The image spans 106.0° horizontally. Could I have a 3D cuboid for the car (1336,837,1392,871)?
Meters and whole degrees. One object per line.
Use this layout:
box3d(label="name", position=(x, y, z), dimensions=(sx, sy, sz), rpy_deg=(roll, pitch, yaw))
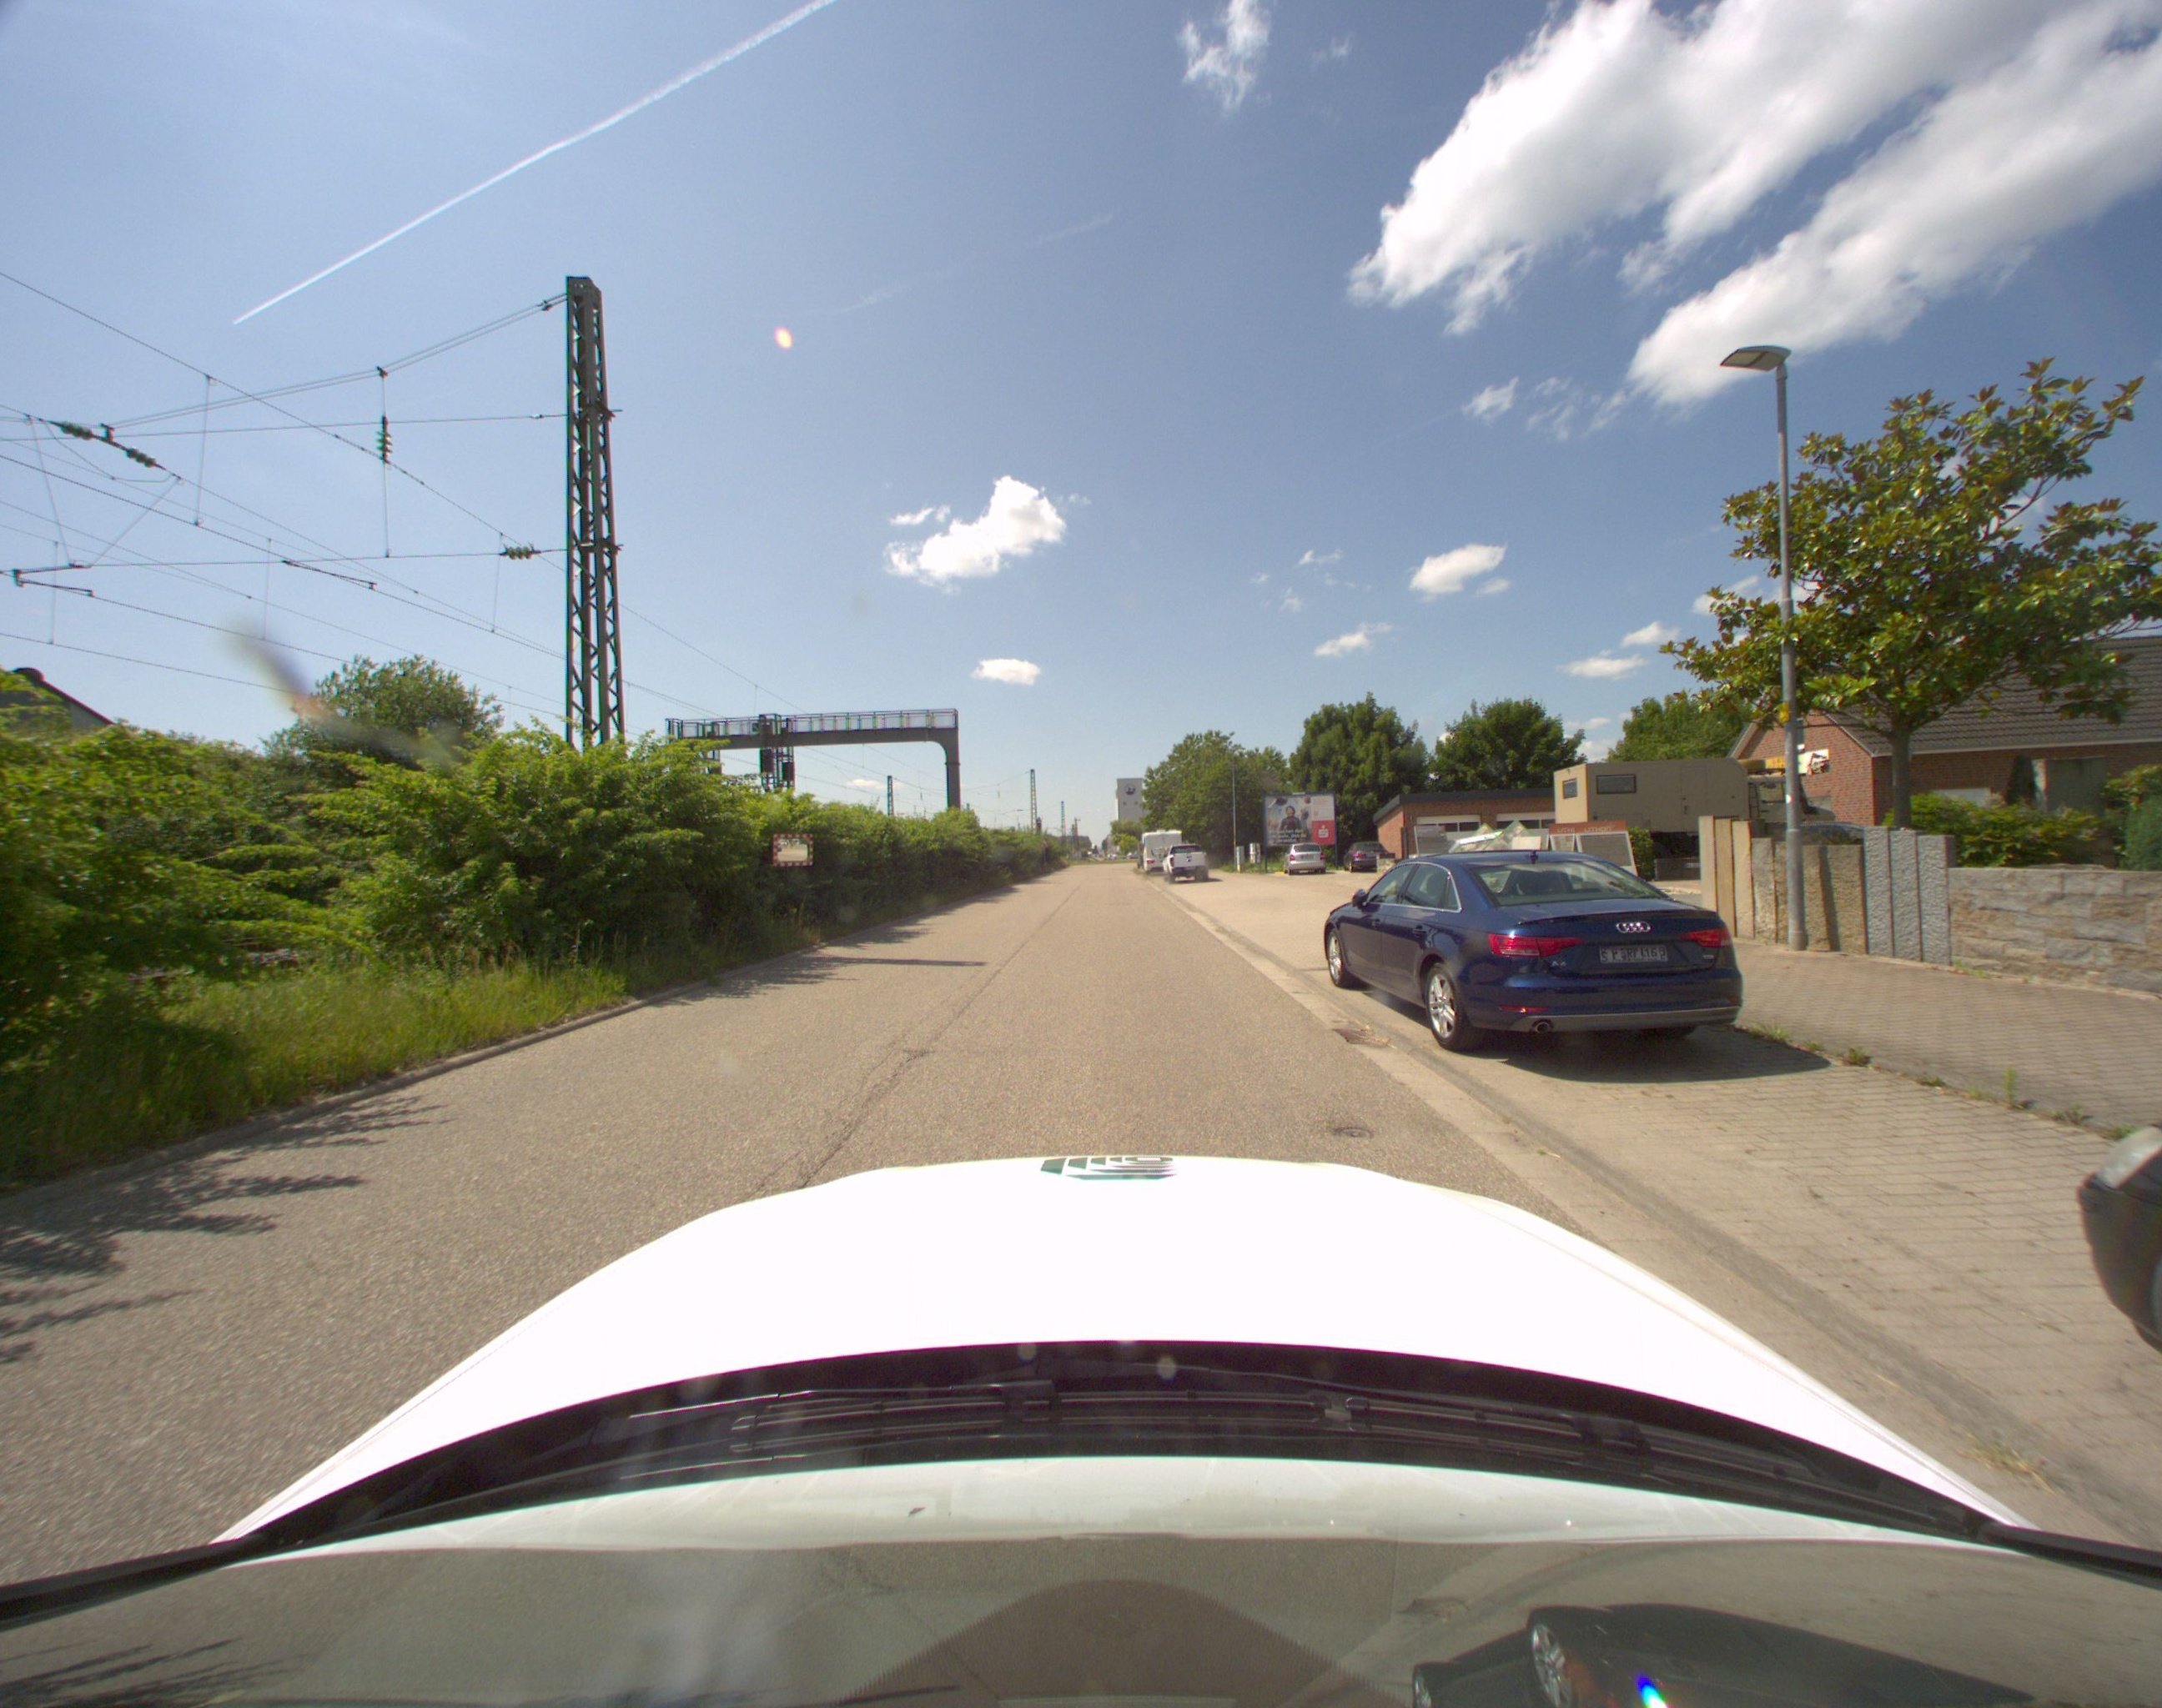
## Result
box3d(label="car", position=(13.136, -0.004, 38.037), dimensions=(1.736, 1.376, 4.011), rpy_deg=(-4, 0, 9))

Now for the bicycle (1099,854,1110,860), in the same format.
box3d(label="bicycle", position=(4.516, 0.545, 157.378), dimensions=(2.118, 1.164, 0.665), rpy_deg=(-2, 0, 38))

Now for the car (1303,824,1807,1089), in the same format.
box3d(label="car", position=(3.456, 0.607, 7.197), dimensions=(1.755, 1.472, 4.720), rpy_deg=(-3, 0, 2))

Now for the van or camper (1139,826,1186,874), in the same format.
box3d(label="van or camper", position=(5.269, -0.247, 53.804), dimensions=(2.430, 2.826, 7.627), rpy_deg=(-3, 0, 2))

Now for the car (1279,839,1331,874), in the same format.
box3d(label="car", position=(10.628, 0.114, 38.906), dimensions=(1.894, 1.480, 4.011), rpy_deg=(-4, 0, 9))

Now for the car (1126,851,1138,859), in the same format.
box3d(label="car", position=(11.070, 0.204, 176.071), dimensions=(1.990, 1.510, 4.448), rpy_deg=(-2, 0, -4))

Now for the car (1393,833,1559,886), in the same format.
box3d(label="car", position=(12.091, 0.162, 25.220), dimensions=(4.240, 1.420, 1.983), rpy_deg=(-2, 0, 11))

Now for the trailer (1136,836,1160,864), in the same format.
box3d(label="trailer", position=(6.382, -0.391, 78.195), dimensions=(1.911, 2.508, 4.744), rpy_deg=(-5, 0, 2))

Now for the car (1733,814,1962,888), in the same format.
box3d(label="car", position=(16.126, -0.074, 17.447), dimensions=(1.770, 1.324, 4.016), rpy_deg=(-3, 0, 13))

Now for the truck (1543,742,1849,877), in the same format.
box3d(label="truck", position=(17.793, -1.200, 24.089), dimensions=(6.421, 3.388, 3.115), rpy_deg=(-3, 0, 10))

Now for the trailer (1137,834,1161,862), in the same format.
box3d(label="trailer", position=(6.981, -0.586, 83.289), dimensions=(1.922, 2.644, 5.195), rpy_deg=(-5, 0, 8))

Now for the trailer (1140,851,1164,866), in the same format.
box3d(label="trailer", position=(6.306, 0.422, 72.580), dimensions=(1.995, 1.123, 4.494), rpy_deg=(-5, -1, 5))

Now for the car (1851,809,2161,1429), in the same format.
box3d(label="car", position=(3.322, 0.603, 0.735), dimensions=(1.608, 1.472, 3.877), rpy_deg=(-3, 0, 2))

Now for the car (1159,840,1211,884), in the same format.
box3d(label="car", position=(4.961, 0.359, 39.569), dimensions=(1.841, 1.814, 5.426), rpy_deg=(-5, 0, 1))
